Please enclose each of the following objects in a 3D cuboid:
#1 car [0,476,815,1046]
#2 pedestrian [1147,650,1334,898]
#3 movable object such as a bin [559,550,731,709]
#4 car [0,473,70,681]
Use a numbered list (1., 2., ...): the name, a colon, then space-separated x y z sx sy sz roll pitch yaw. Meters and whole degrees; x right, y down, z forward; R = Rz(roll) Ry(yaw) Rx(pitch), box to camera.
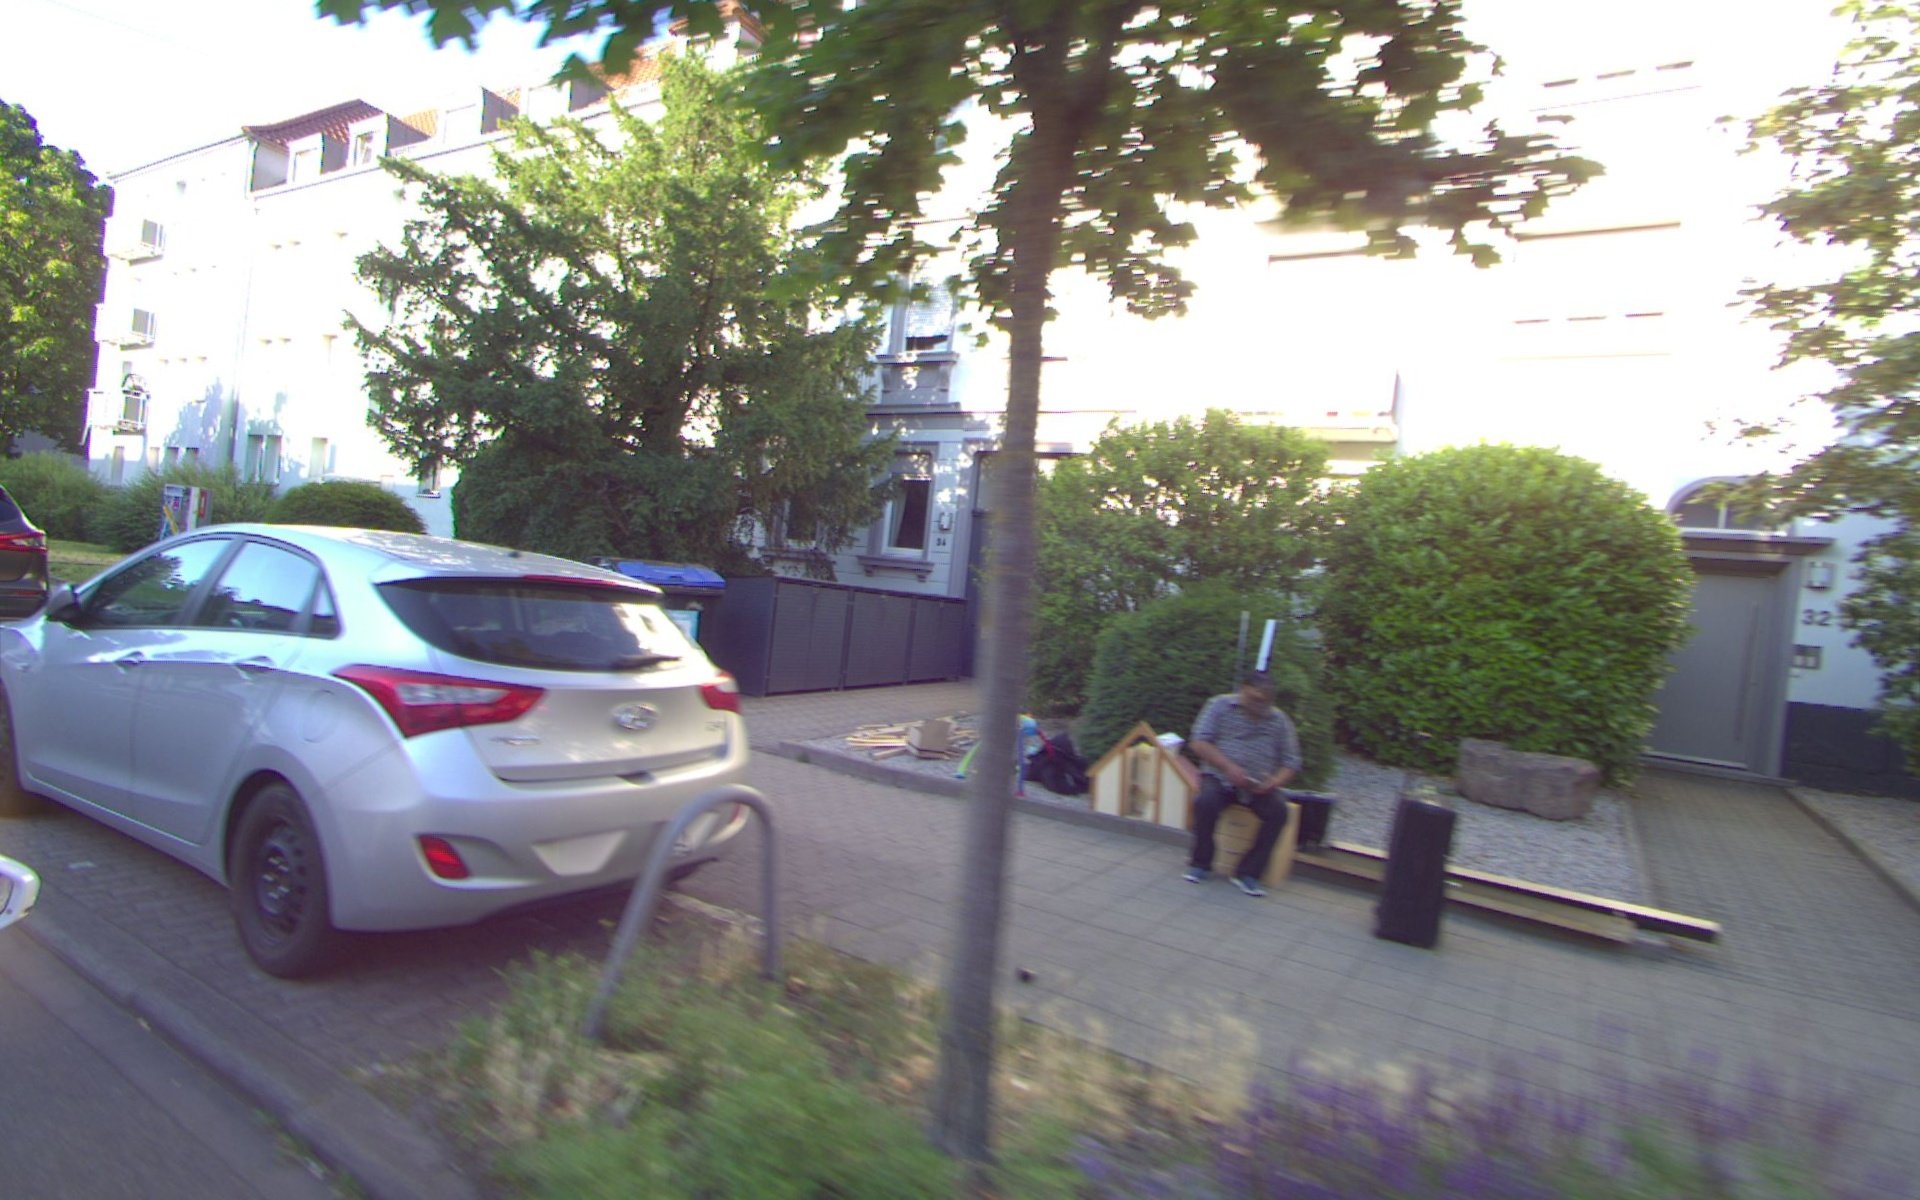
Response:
1. car: -2.971 0.363 4.681 4.320 1.512 1.720 6 0 31
2. pedestrian: 1.653 0.973 5.896 0.778 1.249 0.674 6 -1 32
3. movable object such as a bin: -3.343 0.301 10.691 1.123 1.512 1.264 7 2 42
4. car: -9.423 -0.384 8.479 4.028 1.621 1.719 6 1 31
